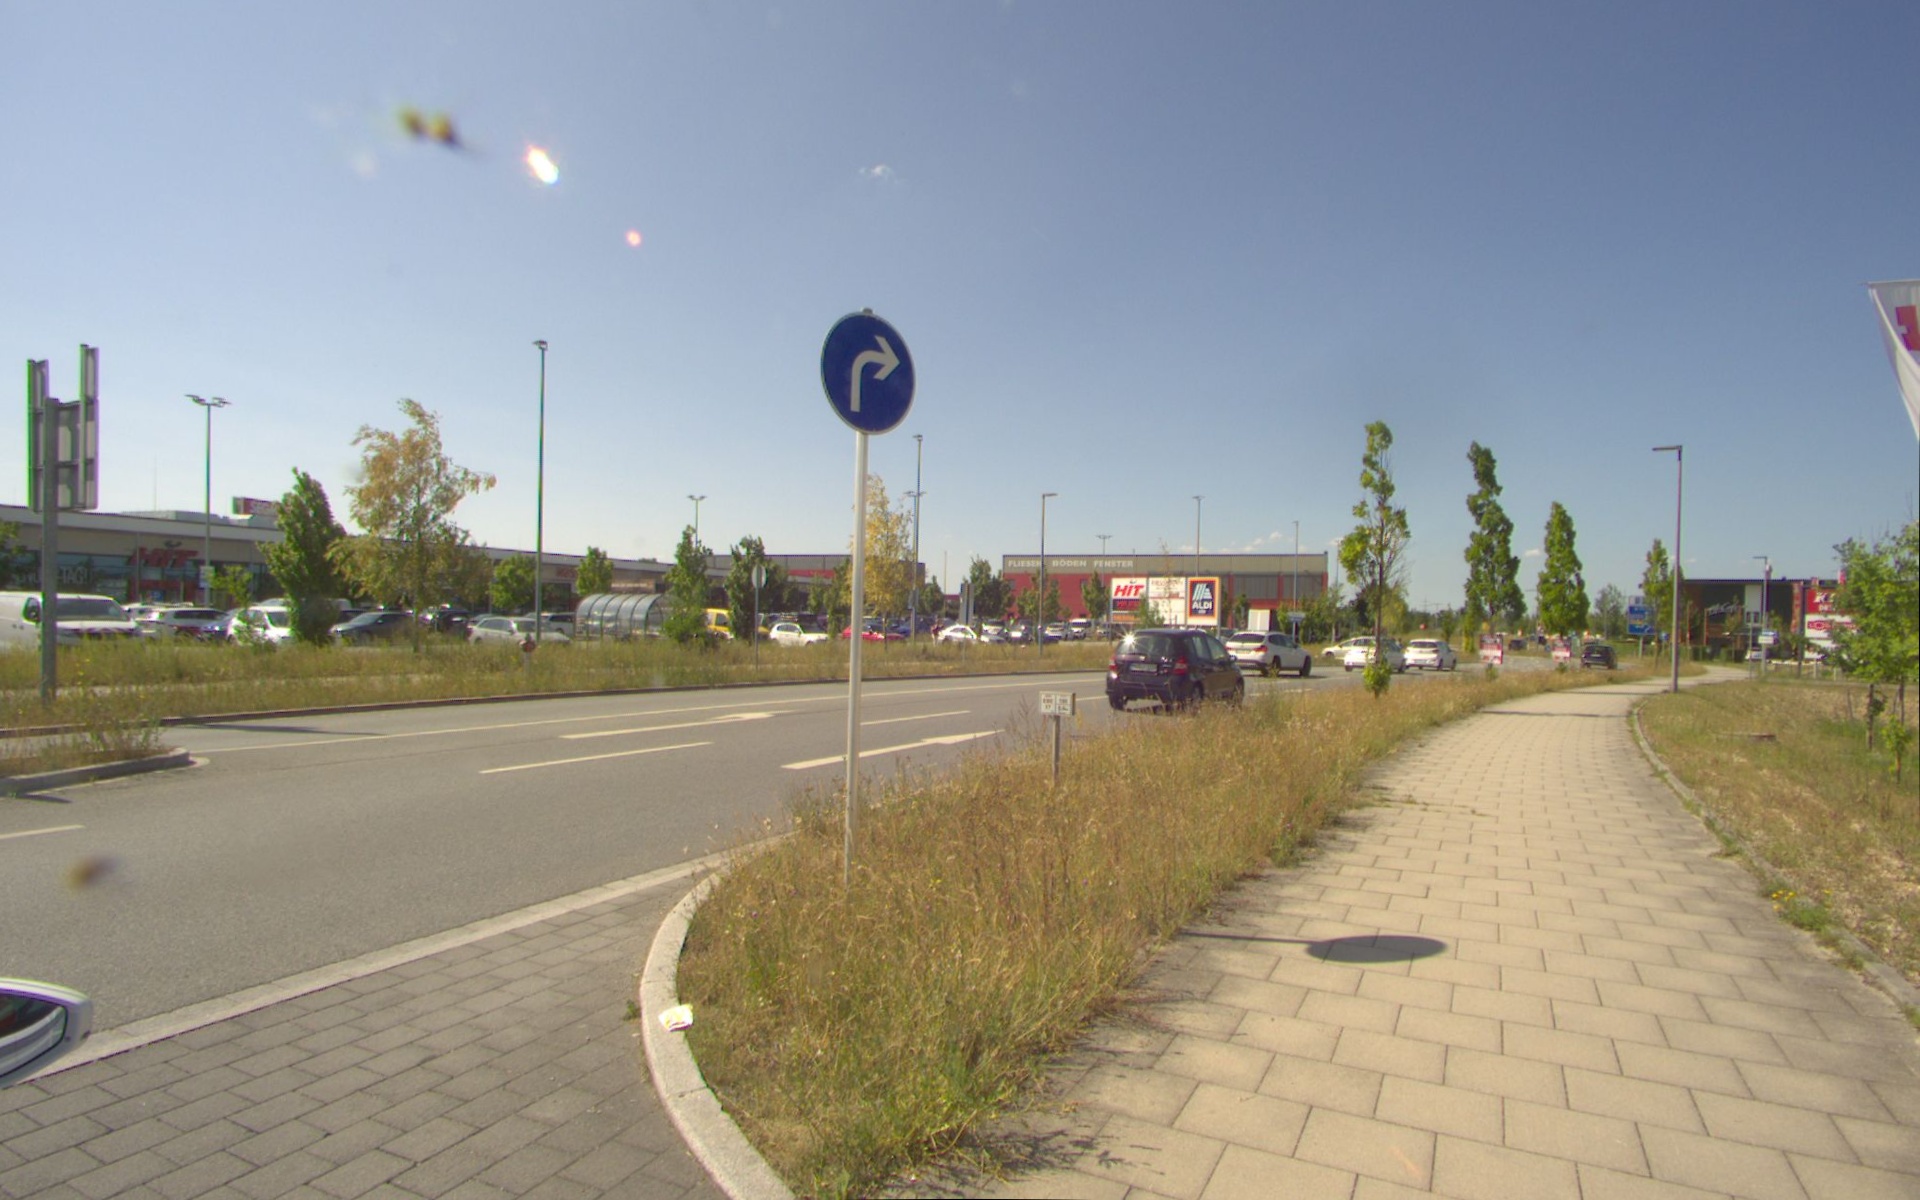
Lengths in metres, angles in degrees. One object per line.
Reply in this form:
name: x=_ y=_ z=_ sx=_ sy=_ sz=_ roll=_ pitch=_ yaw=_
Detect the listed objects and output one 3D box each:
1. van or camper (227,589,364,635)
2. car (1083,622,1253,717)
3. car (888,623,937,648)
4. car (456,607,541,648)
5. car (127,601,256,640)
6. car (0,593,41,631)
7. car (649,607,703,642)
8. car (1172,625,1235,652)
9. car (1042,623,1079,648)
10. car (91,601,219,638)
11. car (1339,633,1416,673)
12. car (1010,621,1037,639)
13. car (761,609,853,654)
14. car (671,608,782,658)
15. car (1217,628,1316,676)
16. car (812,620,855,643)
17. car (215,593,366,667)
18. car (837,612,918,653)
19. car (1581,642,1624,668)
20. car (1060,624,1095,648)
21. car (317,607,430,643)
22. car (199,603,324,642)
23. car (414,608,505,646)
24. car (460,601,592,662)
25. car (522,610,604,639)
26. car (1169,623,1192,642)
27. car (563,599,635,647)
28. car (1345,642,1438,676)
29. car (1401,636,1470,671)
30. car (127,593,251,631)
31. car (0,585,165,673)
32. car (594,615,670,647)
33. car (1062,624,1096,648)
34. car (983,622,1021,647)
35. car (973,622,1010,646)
van or camper: x=-30.804 y=0.574 z=46.629 sx=1.967 sy=2.040 sz=5.038 roll=1 pitch=-1 yaw=24
car: x=4.090 y=1.248 z=19.270 sx=1.971 sy=1.570 sz=3.824 roll=1 pitch=-1 yaw=32
car: x=-3.494 y=2.643 z=74.392 sx=1.966 sy=1.807 sz=4.306 roll=0 pitch=-2 yaw=22
car: x=-26.431 y=1.581 z=57.557 sx=1.963 sy=2.219 sz=4.481 roll=1 pitch=-1 yaw=16
car: x=-30.075 y=0.801 z=39.315 sx=1.701 sy=1.409 sz=3.726 roll=1 pitch=-1 yaw=19
car: x=-44.792 y=0.530 z=46.333 sx=3.934 sy=1.729 sz=1.994 roll=1 pitch=0 yaw=25
car: x=-23.377 y=2.039 z=82.634 sx=1.966 sy=2.858 sz=4.475 roll=0 pitch=-1 yaw=22
car: x=19.072 y=2.993 z=78.458 sx=4.422 sy=2.064 sz=1.989 roll=0 pitch=-1 yaw=34
car: x=8.480 y=2.996 z=84.404 sx=1.966 sy=2.064 sz=4.475 roll=0 pitch=-2 yaw=22
car: x=-32.695 y=0.781 z=40.777 sx=1.701 sy=1.409 sz=3.726 roll=1 pitch=-1 yaw=19
car: x=17.700 y=2.212 z=42.393 sx=3.748 sy=1.571 sz=1.724 roll=2 pitch=-2 yaw=-44
car: x=7.904 y=3.727 z=123.962 sx=1.966 sy=2.064 sz=4.475 roll=0 pitch=-2 yaw=22
car: x=-7.469 y=1.527 z=48.708 sx=4.355 sy=2.039 sz=1.931 roll=1 pitch=-1 yaw=39
car: x=-10.432 y=1.428 z=44.631 sx=5.052 sy=2.040 sz=2.149 roll=1 pitch=-1 yaw=39
car: x=10.875 y=1.808 z=35.360 sx=1.721 sy=1.571 sz=4.536 roll=0 pitch=-2 yaw=40
car: x=-11.520 y=2.884 z=91.549 sx=1.966 sy=2.064 sz=4.475 roll=0 pitch=-2 yaw=22
car: x=-20.105 y=0.850 z=30.018 sx=5.048 sy=2.040 sz=2.151 roll=1 pitch=-1 yaw=36
car: x=-4.368 y=1.691 z=52.463 sx=4.090 sy=2.039 sz=1.869 roll=1 pitch=-1 yaw=41
car: x=41.421 y=3.513 z=64.491 sx=1.891 sy=1.571 sz=4.358 roll=0 pitch=-2 yaw=38
car: x=10.589 y=3.194 z=90.076 sx=1.966 sy=2.064 sz=4.475 roll=0 pitch=-2 yaw=22
car: x=-25.943 y=1.133 z=44.448 sx=1.843 sy=1.527 sz=3.991 roll=0 pitch=-2 yaw=23
car: x=-27.302 y=0.883 z=39.267 sx=1.701 sy=1.409 sz=3.726 roll=1 pitch=-1 yaw=19
car: x=-29.273 y=1.614 z=58.685 sx=1.968 sy=2.129 sz=4.471 roll=0 pitch=-2 yaw=26
car: x=-15.902 y=1.107 z=36.589 sx=5.048 sy=2.040 sz=2.151 roll=1 pitch=-1 yaw=36
car: x=-21.955 y=1.371 z=55.496 sx=1.628 sy=1.539 sz=4.339 roll=0 pitch=-2 yaw=24
car: x=25.673 y=3.795 z=116.506 sx=1.966 sy=2.064 sz=4.475 roll=0 pitch=-2 yaw=22
car: x=-22.437 y=1.468 z=62.435 sx=1.963 sy=2.858 sz=4.481 roll=1 pitch=-1 yaw=16
car: x=24.267 y=3.288 z=56.408 sx=1.981 sy=1.737 sz=4.440 roll=2 pitch=-2 yaw=-44
car: x=23.037 y=2.555 z=48.393 sx=1.923 sy=1.571 sz=4.726 roll=0 pitch=-2 yaw=40
car: x=-37.890 y=0.630 z=49.340 sx=1.844 sy=1.727 sz=4.473 roll=0 pitch=-2 yaw=25
car: x=-22.702 y=0.673 z=25.496 sx=5.149 sy=2.040 sz=2.079 roll=1 pitch=-1 yaw=30
car: x=-19.962 y=1.907 z=61.170 sx=1.966 sy=1.887 sz=4.475 roll=0 pitch=-2 yaw=22
car: x=10.712 y=3.195 z=90.041 sx=1.966 sy=2.064 sz=4.475 roll=0 pitch=-2 yaw=22
car: x=3.669 y=2.994 z=86.983 sx=1.966 sy=2.064 sz=4.475 roll=0 pitch=-2 yaw=22
car: x=2.960 y=3.134 z=92.196 sx=1.966 sy=2.064 sz=4.475 roll=0 pitch=-2 yaw=22
